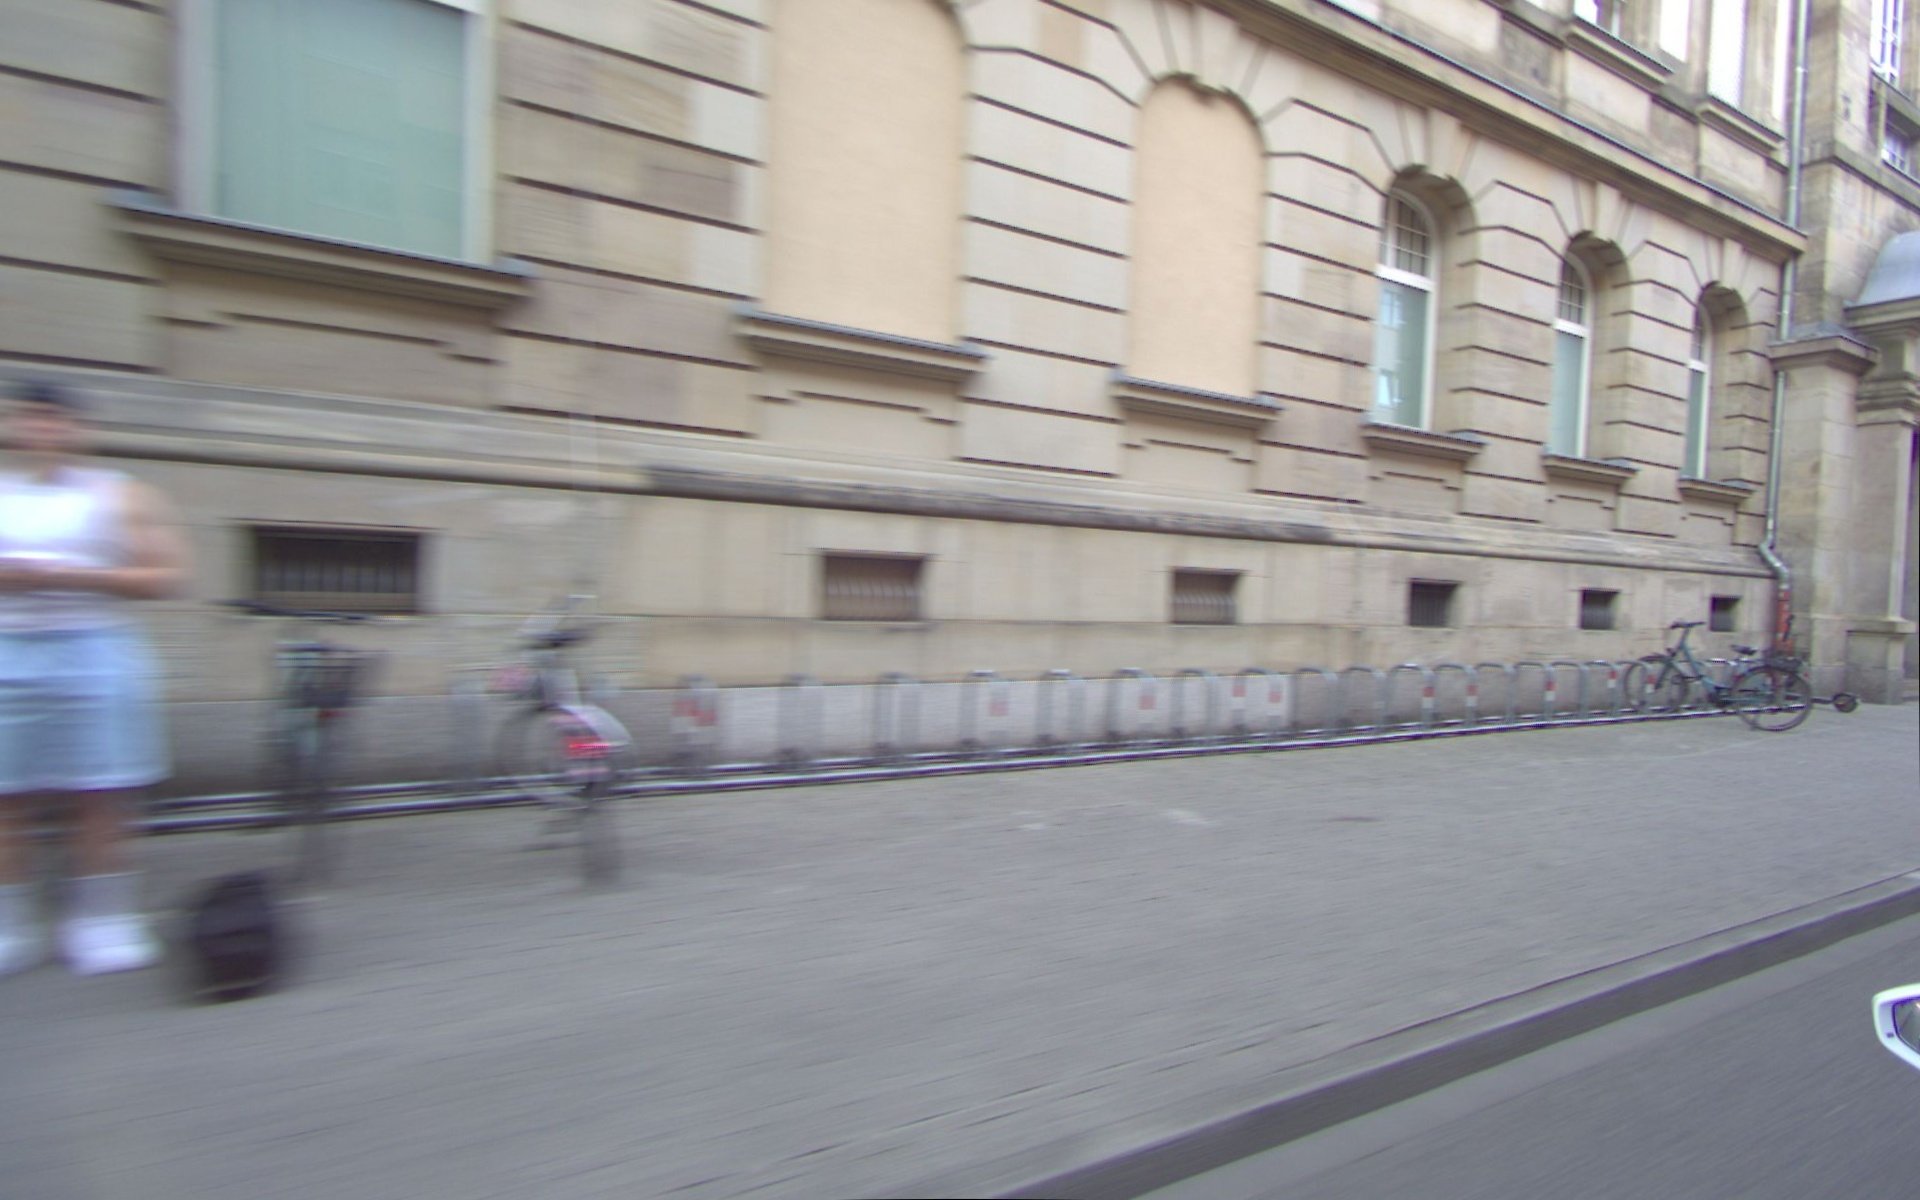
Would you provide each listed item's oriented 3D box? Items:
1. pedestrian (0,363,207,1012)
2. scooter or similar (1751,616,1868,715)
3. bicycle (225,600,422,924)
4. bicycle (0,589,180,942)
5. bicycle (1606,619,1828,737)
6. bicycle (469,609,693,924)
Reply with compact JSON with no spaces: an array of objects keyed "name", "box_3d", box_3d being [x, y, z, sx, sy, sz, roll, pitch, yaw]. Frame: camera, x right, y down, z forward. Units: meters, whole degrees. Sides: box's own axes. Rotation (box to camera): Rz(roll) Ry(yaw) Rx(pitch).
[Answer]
[{"name":"pedestrian","box_3d":[-2.860,0.248,3.166,0.747,1.876,0.584,1,4,-36]},{"name":"scooter or similar","box_3d":[11.819,0.883,13.997,0.493,1.249,1.122,0,3,-42]},{"name":"bicycle","box_3d":[-2.976,0.605,4.638,0.614,1.076,1.924,2,2,-35]},{"name":"bicycle","box_3d":[-3.670,0.565,4.231,0.495,1.122,1.782,2,3,-35]},{"name":"bicycle","box_3d":[8.793,0.860,11.739,0.615,1.076,1.918,1,5,-44]},{"name":"bicycle","box_3d":[-1.882,0.652,4.791,0.613,1.076,1.926,2,2,-32]}]
